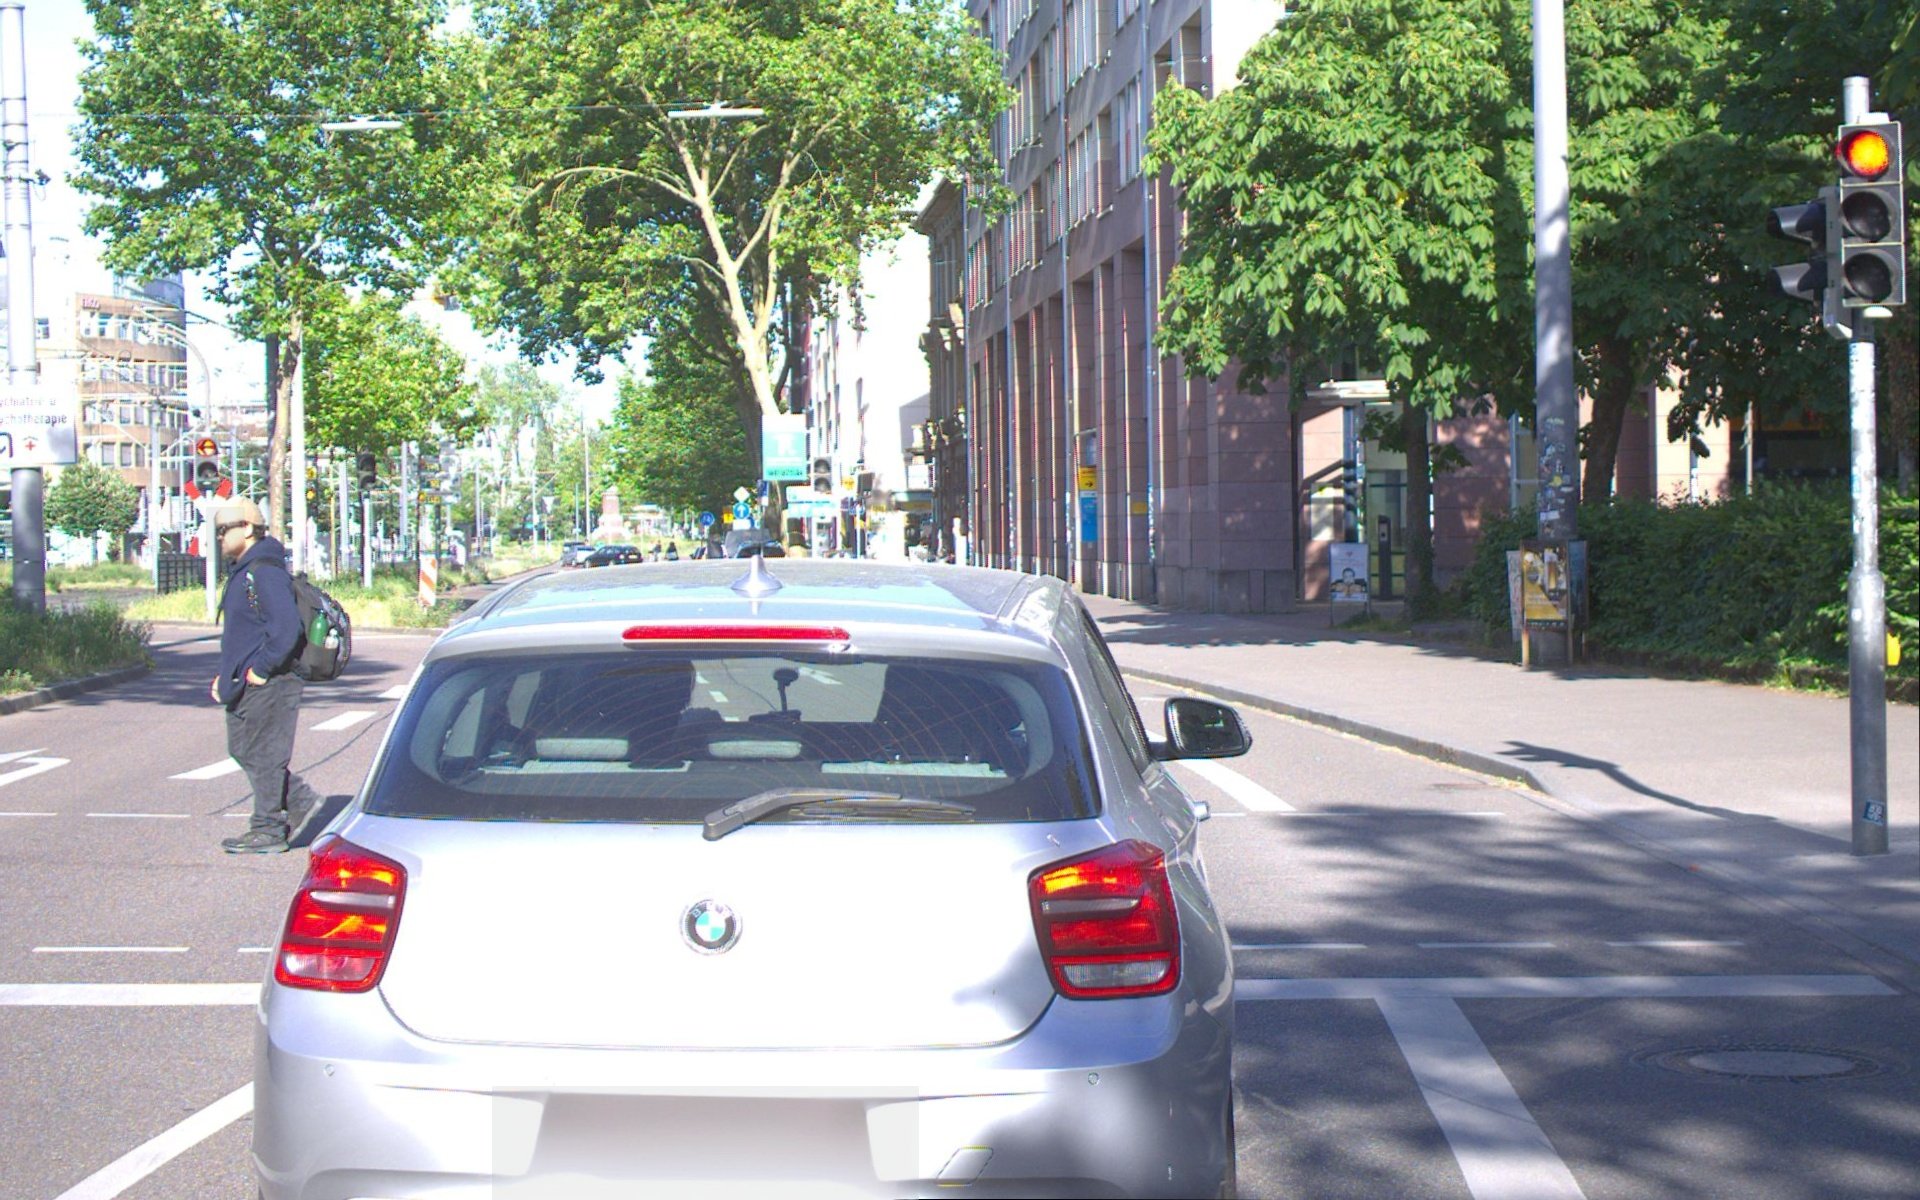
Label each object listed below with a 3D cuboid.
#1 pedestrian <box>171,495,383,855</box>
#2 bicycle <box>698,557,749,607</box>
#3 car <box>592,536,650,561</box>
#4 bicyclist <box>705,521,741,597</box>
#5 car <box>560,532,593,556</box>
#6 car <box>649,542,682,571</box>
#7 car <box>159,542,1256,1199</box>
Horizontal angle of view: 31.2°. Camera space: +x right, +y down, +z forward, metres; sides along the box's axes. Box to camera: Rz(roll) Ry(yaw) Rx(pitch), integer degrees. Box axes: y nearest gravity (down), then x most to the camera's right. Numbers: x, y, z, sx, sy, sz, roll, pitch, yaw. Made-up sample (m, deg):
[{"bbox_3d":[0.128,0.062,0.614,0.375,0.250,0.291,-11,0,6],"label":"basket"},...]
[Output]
[{"bbox_3d":[-3.165,0.334,15.899,0.940,1.623,0.629,0,1,-13],"label":"pedestrian"},{"bbox_3d":[-5.211,-0.403,75.990,0.831,1.038,1.874,-1,1,5],"label":"bicycle"},{"bbox_3d":[-20.258,-3.062,205.392,1.993,1.481,4.000,-1,1,-29],"label":"car"},{"bbox_3d":[-5.237,-0.911,75.985,0.658,1.651,0.765,-1,1,5],"label":"bicyclist"},{"bbox_3d":[-24.770,-3.636,222.006,1.993,1.481,4.001,-1,1,-7],"label":"car"},{"bbox_3d":[-21.314,-3.138,248.618,1.993,2.007,4.000,1,0,0],"label":"car"},{"bbox_3d":[-0.321,0.613,7.350,1.730,1.385,3.840,1,2,3],"label":"car"}]
